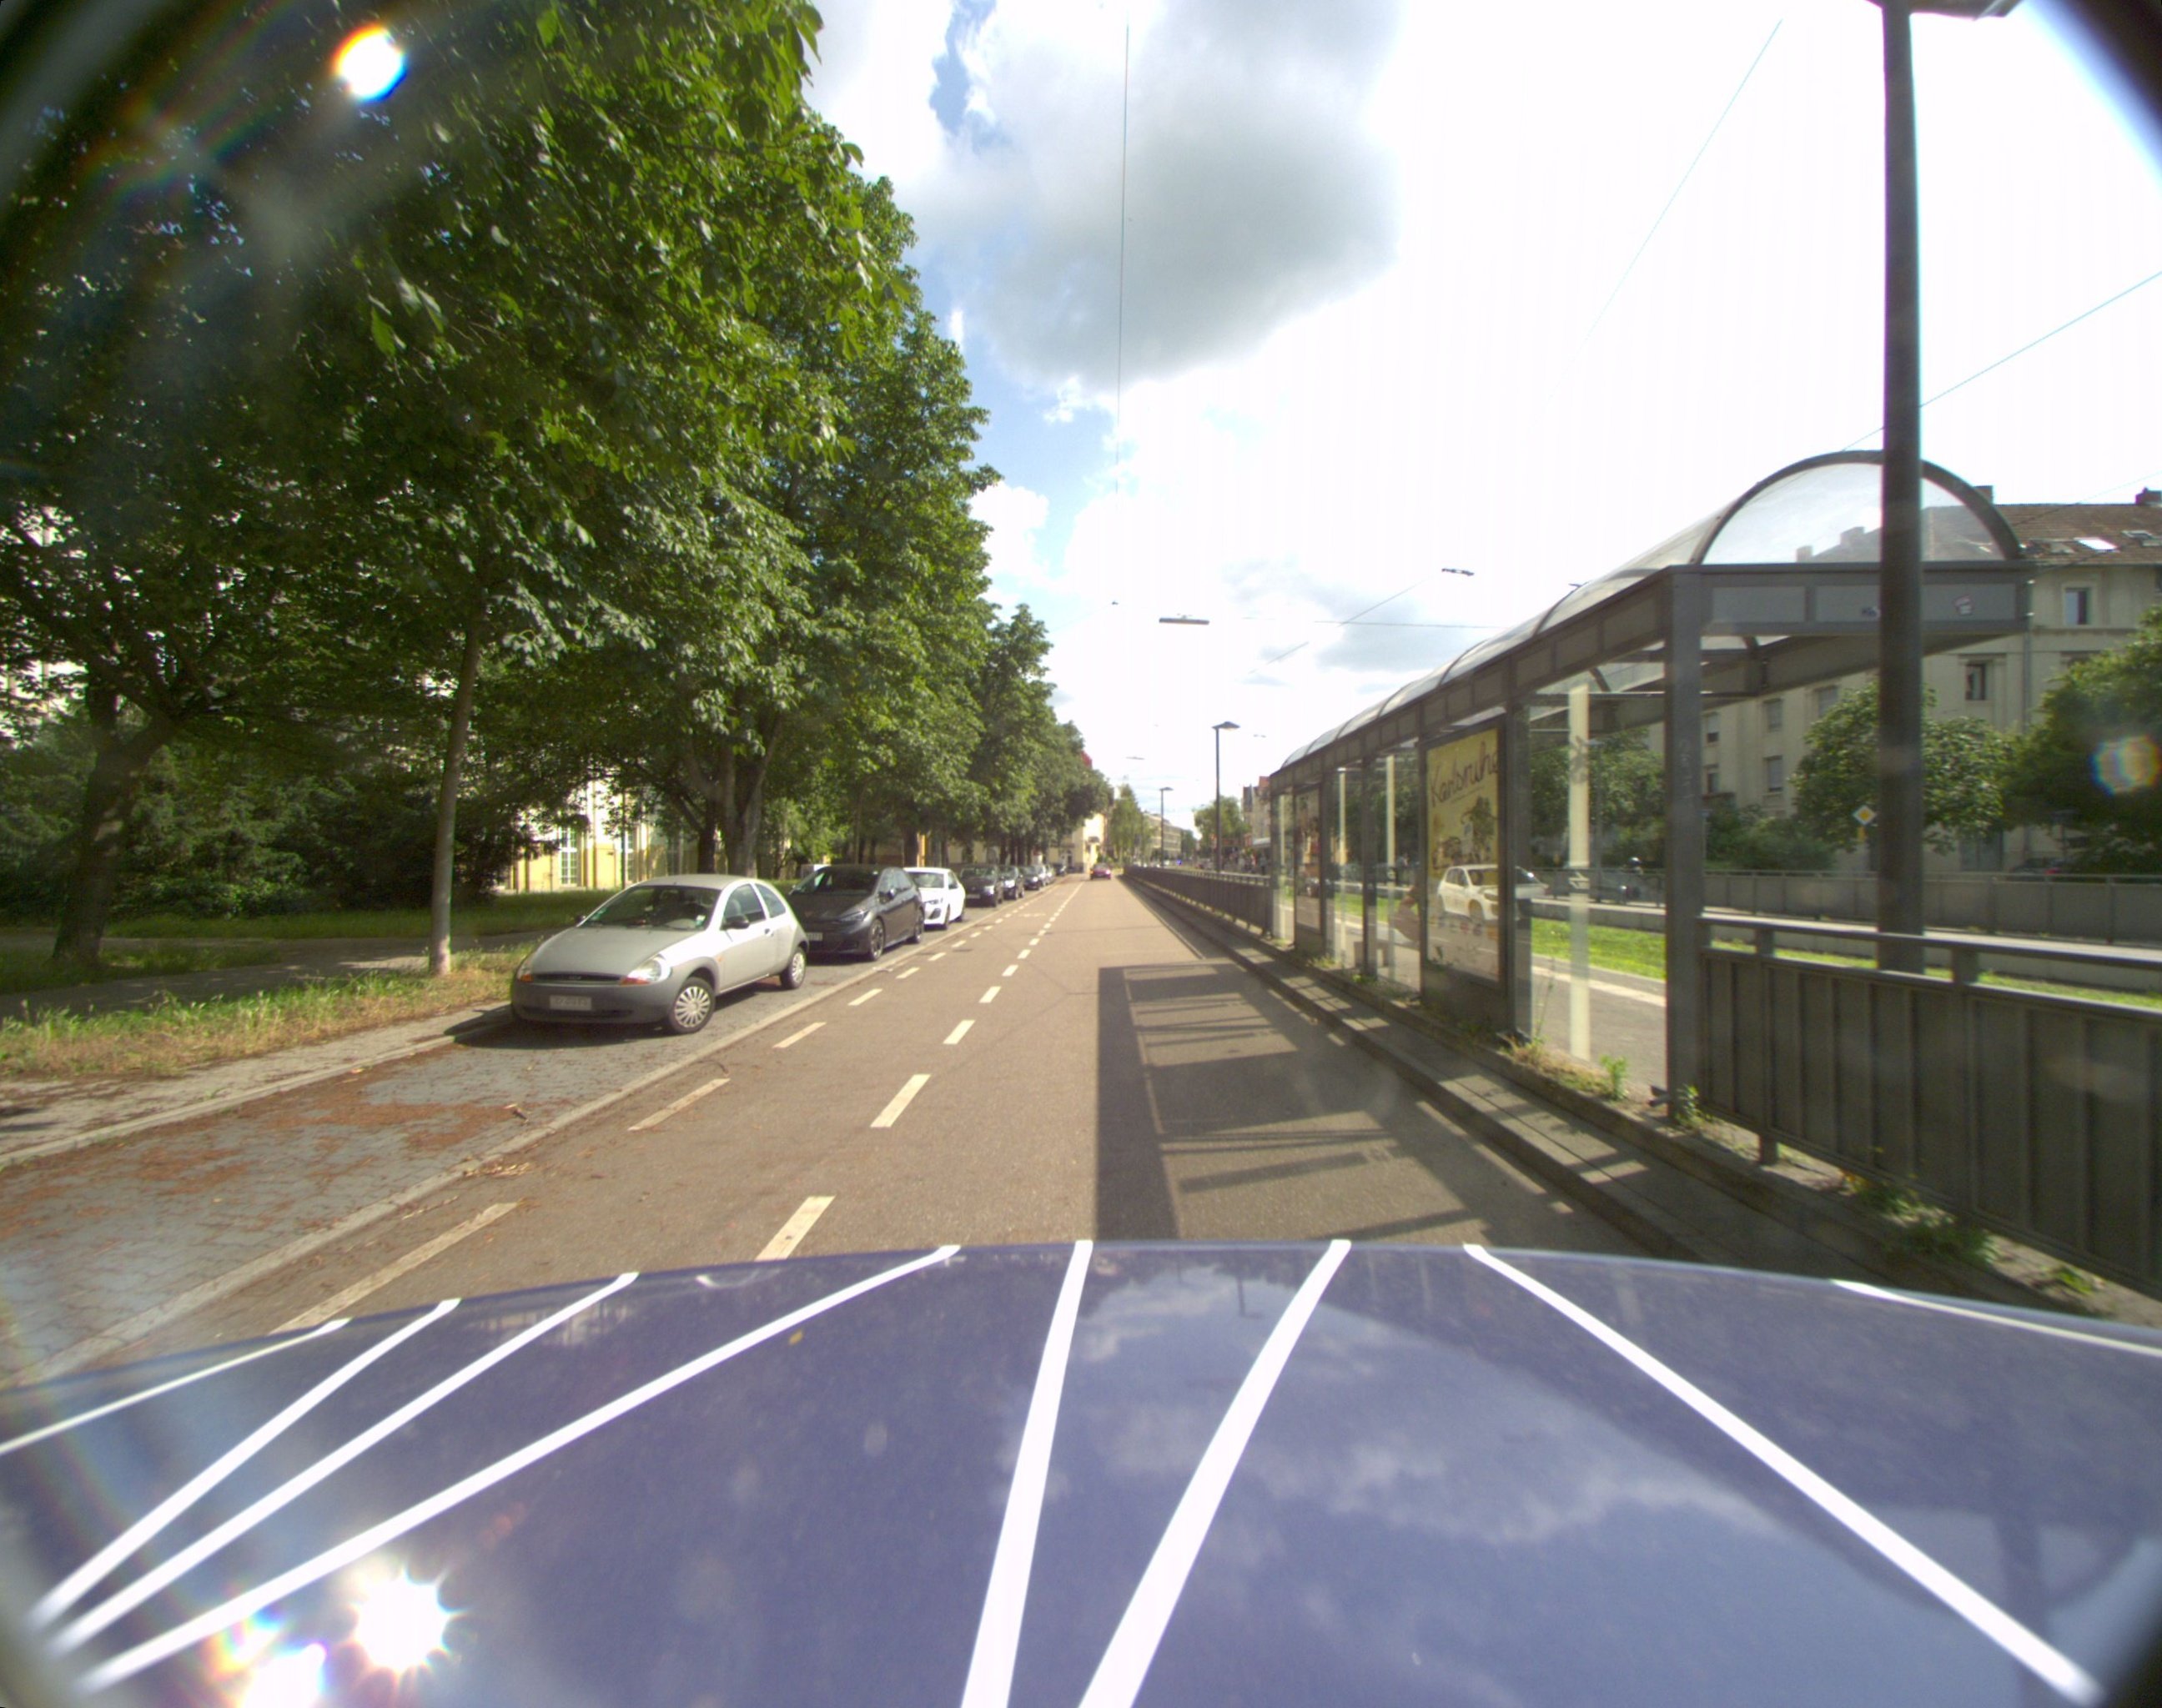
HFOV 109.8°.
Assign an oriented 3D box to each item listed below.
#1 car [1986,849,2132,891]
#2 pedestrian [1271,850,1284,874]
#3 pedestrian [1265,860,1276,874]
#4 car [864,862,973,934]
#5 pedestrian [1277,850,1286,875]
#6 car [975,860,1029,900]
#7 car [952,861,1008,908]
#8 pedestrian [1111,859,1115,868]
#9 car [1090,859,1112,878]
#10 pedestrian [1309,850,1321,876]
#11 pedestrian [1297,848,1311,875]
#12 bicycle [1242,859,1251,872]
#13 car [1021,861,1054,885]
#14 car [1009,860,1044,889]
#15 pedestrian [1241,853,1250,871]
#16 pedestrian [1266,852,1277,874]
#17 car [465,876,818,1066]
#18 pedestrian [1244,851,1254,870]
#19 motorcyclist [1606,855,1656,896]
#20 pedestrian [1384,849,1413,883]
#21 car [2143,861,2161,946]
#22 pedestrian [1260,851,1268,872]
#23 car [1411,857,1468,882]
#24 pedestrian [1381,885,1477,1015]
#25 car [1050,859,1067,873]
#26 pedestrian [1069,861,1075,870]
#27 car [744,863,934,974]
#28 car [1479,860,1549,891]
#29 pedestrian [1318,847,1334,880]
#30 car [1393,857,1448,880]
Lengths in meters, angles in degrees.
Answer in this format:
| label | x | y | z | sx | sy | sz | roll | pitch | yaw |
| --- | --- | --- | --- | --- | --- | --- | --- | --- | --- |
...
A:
| label | x | y | z | sx | sy | sz | roll | pitch | yaw |
| --- | --- | --- | --- | --- | --- | --- | --- | --- | --- |
| car | 43.329 | 0.681 | 33.742 | 3.996 | 1.723 | 1.824 | 1 | 1 | 2 |
| pedestrian | 14.466 | 0.569 | 55.934 | 0.634 | 1.732 | 1.036 | 0 | 1 | -1 |
| pedestrian | 14.824 | 1.001 | 59.405 | 0.721 | 1.025 | 0.623 | 1 | 1 | -1 |
| car | -3.945 | 1.019 | 19.141 | 1.840 | 1.514 | 4.253 | 2 | 0 | -1 |
| pedestrian | 14.968 | 0.620 | 56.765 | 0.444 | 1.816 | 0.623 | 0 | 1 | -1 |
| car | -3.363 | 1.075 | 33.068 | 1.695 | 1.552 | 4.308 | 3 | 0 | 1 |
| car | -3.642 | 1.060 | 27.876 | 1.560 | 1.452 | 3.557 | 3 | 1 | -1 |
| pedestrian | 5.454 | 1.637 | 129.177 | 0.593 | 1.622 | 0.538 | 2 | 0 | 4 |
| car | 1.732 | 1.217 | 65.951 | 1.790 | 1.499 | 4.000 | -2 | 0 | 1 |
| pedestrian | 15.088 | 0.599 | 49.017 | 0.608 | 1.664 | 0.625 | 0 | 1 | 1 |
| pedestrian | 14.354 | 0.464 | 48.888 | 0.607 | 1.744 | 0.626 | 1 | 1 | 42 |
| bicycle | 14.782 | 1.017 | 67.750 | 0.662 | 1.107 | 1.879 | 1 | 0 | 10 |
| car | -2.846 | 1.239 | 50.605 | 1.639 | 1.422 | 4.016 | 2 | 0 | 4 |
| car | -3.166 | 1.161 | 44.666 | 1.836 | 1.458 | 4.829 | 2 | 1 | -2 |
| pedestrian | 15.699 | 0.732 | 72.562 | 0.667 | 1.689 | 0.798 | 0 | 1 | -1 |
| pedestrian | 13.858 | 0.661 | 55.216 | 0.598 | 1.623 | 0.558 | 0 | 0 | -13 |
| car | -4.292 | 1.027 | 8.134 | 1.594 | 1.436 | 3.598 | 1 | 0 | 2 |
| pedestrian | 15.088 | 0.572 | 68.211 | 0.640 | 1.714 | 0.798 | 0 | 1 | -1 |
| motorcyclist | 18.224 | 0.704 | 25.208 | 0.940 | 1.331 | 0.986 | 0 | 0 | 2 |
| pedestrian | 14.836 | 0.536 | 35.483 | 0.991 | 1.569 | 0.798 | 0 | 1 | -1 |
| car | 22.885 | 0.941 | 15.234 | 4.008 | 1.630 | 1.823 | 0 | -1 | -35 |
| pedestrian | 14.666 | 0.598 | 61.002 | 0.487 | 1.716 | 0.624 | -1 | 1 | 1 |
| car | 24.158 | 1.007 | 51.160 | 4.144 | 1.630 | 1.829 | 0 | 1 | -38 |
| pedestrian | 3.151 | 0.825 | 6.869 | 0.662 | 1.066 | 0.725 | 0 | -1 | 36 |
| car | -2.432 | 1.263 | 83.063 | 1.689 | 1.379 | 3.924 | 1 | 0 | 2 |
| pedestrian | -1.215 | 1.582 | 106.728 | 0.804 | 1.238 | 0.892 | 0 | 2 | 4 |
| car | -4.029 | 0.980 | 13.541 | 1.729 | 1.574 | 4.678 | 1 | 0 | 2 |
| car | 23.668 | 1.125 | 41.496 | 4.161 | 1.555 | 1.921 | 0 | 1 | -39 |
| pedestrian | 14.267 | 0.564 | 44.331 | 0.752 | 1.881 | 0.639 | -1 | 2 | 4 |
| car | 24.188 | 1.010 | 54.055 | 4.007 | 1.559 | 1.605 | 0 | 0 | -32 |
